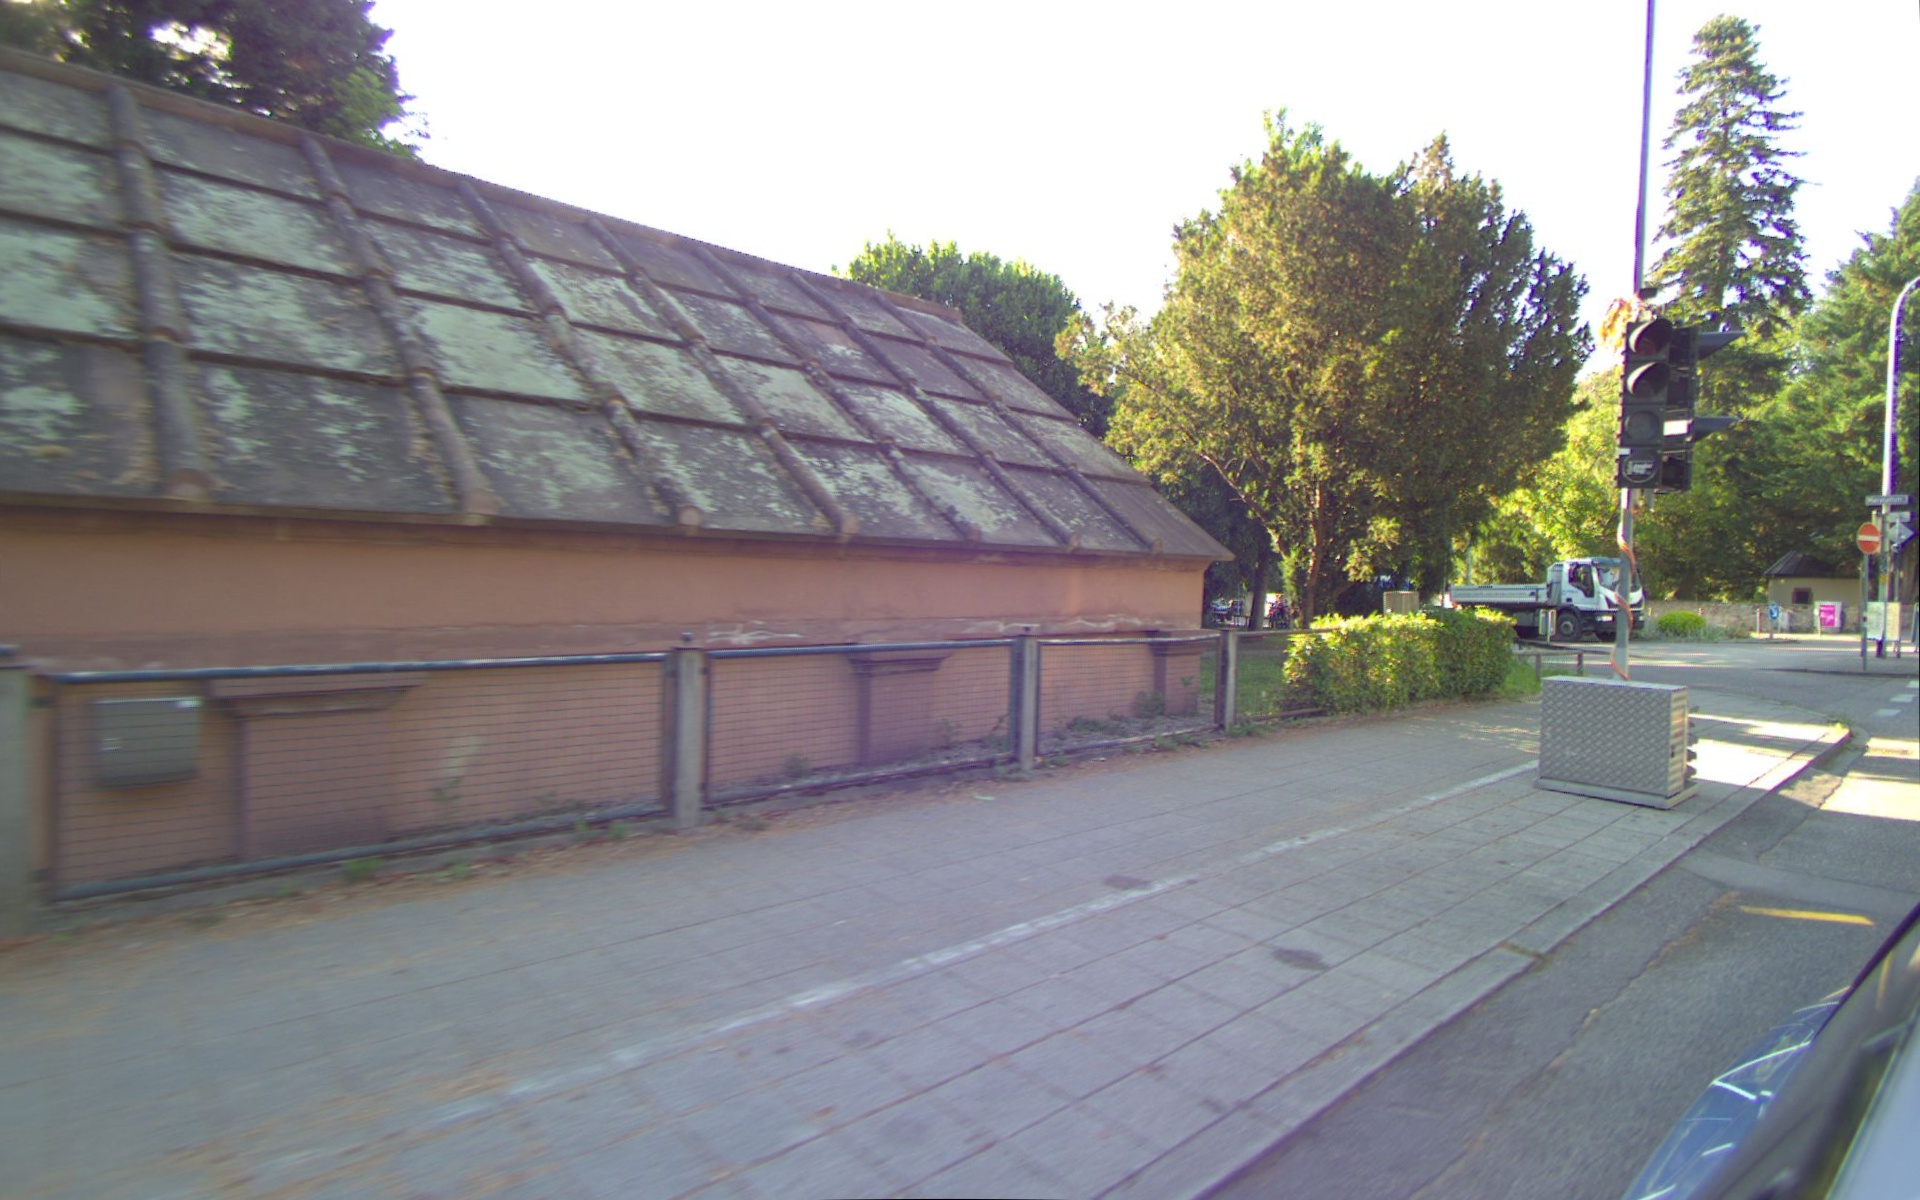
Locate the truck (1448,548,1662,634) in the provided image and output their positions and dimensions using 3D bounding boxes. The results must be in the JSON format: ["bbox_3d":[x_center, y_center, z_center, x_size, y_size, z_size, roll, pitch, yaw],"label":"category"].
[{"bbox_3d":[20.978,-0.290,36.163,2.321,2.787,6.524,0,0,-21],"label":"truck"}]
